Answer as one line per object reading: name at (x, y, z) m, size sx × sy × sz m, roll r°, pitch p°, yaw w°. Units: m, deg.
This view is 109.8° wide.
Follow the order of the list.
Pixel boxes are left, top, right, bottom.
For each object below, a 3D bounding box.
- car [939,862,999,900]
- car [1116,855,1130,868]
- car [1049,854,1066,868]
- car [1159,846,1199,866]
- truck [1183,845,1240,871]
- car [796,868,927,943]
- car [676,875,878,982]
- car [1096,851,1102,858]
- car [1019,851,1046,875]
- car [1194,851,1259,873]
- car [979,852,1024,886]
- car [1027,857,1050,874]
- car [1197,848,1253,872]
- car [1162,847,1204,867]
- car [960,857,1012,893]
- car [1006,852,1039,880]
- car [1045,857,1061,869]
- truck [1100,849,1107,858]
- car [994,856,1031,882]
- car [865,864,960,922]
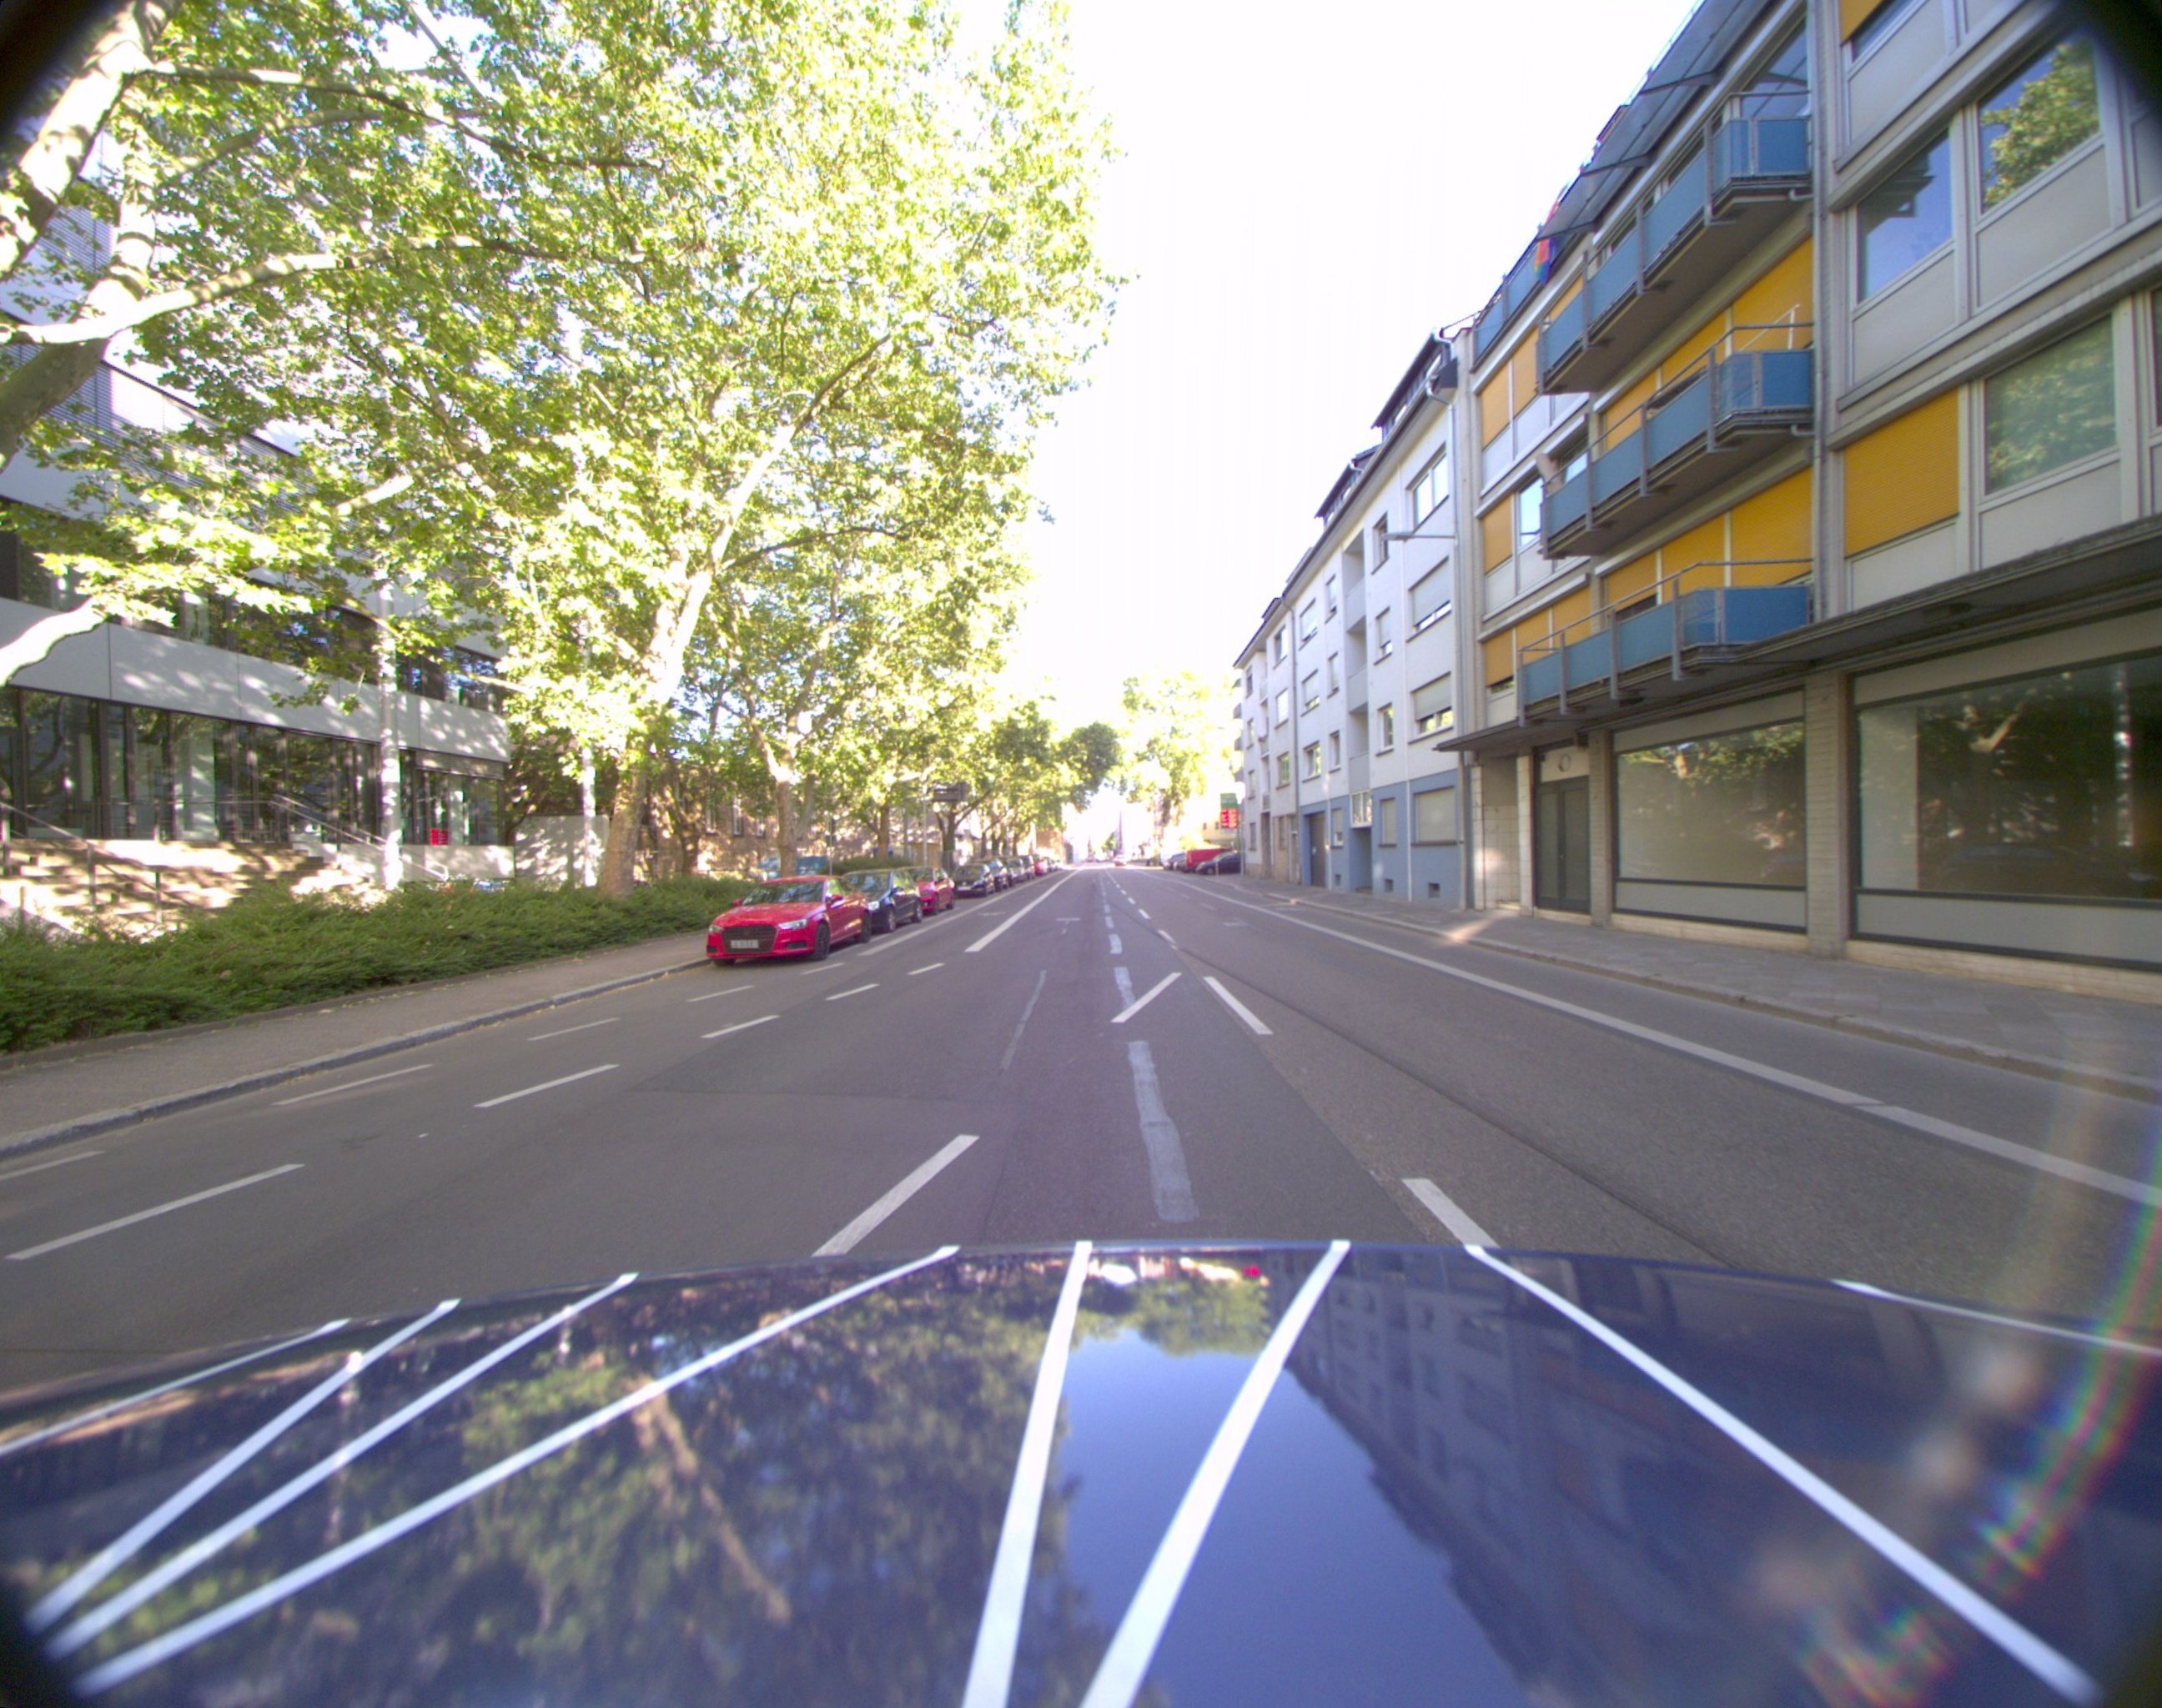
car at (-4.834, 1.128, 33.174) m, size 1.998 × 1.447 × 3.589 m, roll -2°, pitch 1°, yaw 1°
car at (5.749, 1.009, 104.985) m, size 1.847 × 1.668 × 4.000 m, roll 1°, pitch 1°, yaw 2°
car at (-3.180, 0.904, 103.003) m, size 1.998 × 1.682 × 3.999 m, roll -2°, pitch 1°, yaw 1°
car at (10.954, 0.211, 85.308) m, size 4.236 × 2.025 × 2.000 m, roll -2°, pitch 1°, yaw 3°
truck at (10.291, 0.313, 60.210) m, size 4.092 × 1.913 × 2.000 m, roll -2°, pitch 1°, yaw 0°
car at (-5.167, 1.165, 18.428) m, size 1.998 × 1.452 × 3.644 m, roll -2°, pitch 1°, yaw 1°
car at (-5.184, 1.194, 13.633) m, size 1.907 × 1.417 × 3.999 m, roll -2°, pitch 1°, yaw 1°
car at (6.173, 0.186, 259.450) m, size 1.998 × 2.002 × 3.999 m, roll -2°, pitch 1°, yaw 1°
car at (-4.219, 0.748, 66.348) m, size 1.998 × 1.960 × 3.999 m, roll -2°, pitch 1°, yaw 1°
car at (10.460, 0.565, 54.778) m, size 4.324 × 1.398 × 1.658 m, roll -2°, pitch 1°, yaw 0°
car at (-4.603, 0.836, 44.512) m, size 1.998 × 1.777 × 4.572 m, roll -2°, pitch 1°, yaw 1°
car at (-4.032, 1.079, 71.992) m, size 1.824 × 1.466 × 3.999 m, roll -2°, pitch 1°, yaw 1°
car at (10.806, 0.444, 57.110) m, size 3.810 × 1.563 × 1.658 m, roll -2°, pitch 1°, yaw 0°
car at (10.868, 0.277, 80.908) m, size 4.236 × 1.945 × 2.000 m, roll -2°, pitch 1°, yaw 3°
car at (-4.680, 1.003, 38.116) m, size 1.998 × 1.592 × 4.142 m, roll -2°, pitch 1°, yaw 1°
car at (-4.245, 0.842, 55.615) m, size 1.998 × 1.838 × 3.999 m, roll -2°, pitch 1°, yaw 1°
car at (-3.342, 1.068, 92.733) m, size 1.693 × 1.364 × 3.999 m, roll -2°, pitch 1°, yaw 1°
truck at (6.884, -0.301, 233.818) m, size 1.998 × 2.653 × 5.314 m, roll -2°, pitch 1°, yaw 0°
car at (-4.550, 0.948, 50.883) m, size 1.998 × 1.557 × 4.142 m, roll -2°, pitch 1°, yaw 1°
car at (-5.124, 1.146, 23.665) m, size 1.998 × 1.490 × 3.828 m, roll -2°, pitch 1°, yaw 1°
